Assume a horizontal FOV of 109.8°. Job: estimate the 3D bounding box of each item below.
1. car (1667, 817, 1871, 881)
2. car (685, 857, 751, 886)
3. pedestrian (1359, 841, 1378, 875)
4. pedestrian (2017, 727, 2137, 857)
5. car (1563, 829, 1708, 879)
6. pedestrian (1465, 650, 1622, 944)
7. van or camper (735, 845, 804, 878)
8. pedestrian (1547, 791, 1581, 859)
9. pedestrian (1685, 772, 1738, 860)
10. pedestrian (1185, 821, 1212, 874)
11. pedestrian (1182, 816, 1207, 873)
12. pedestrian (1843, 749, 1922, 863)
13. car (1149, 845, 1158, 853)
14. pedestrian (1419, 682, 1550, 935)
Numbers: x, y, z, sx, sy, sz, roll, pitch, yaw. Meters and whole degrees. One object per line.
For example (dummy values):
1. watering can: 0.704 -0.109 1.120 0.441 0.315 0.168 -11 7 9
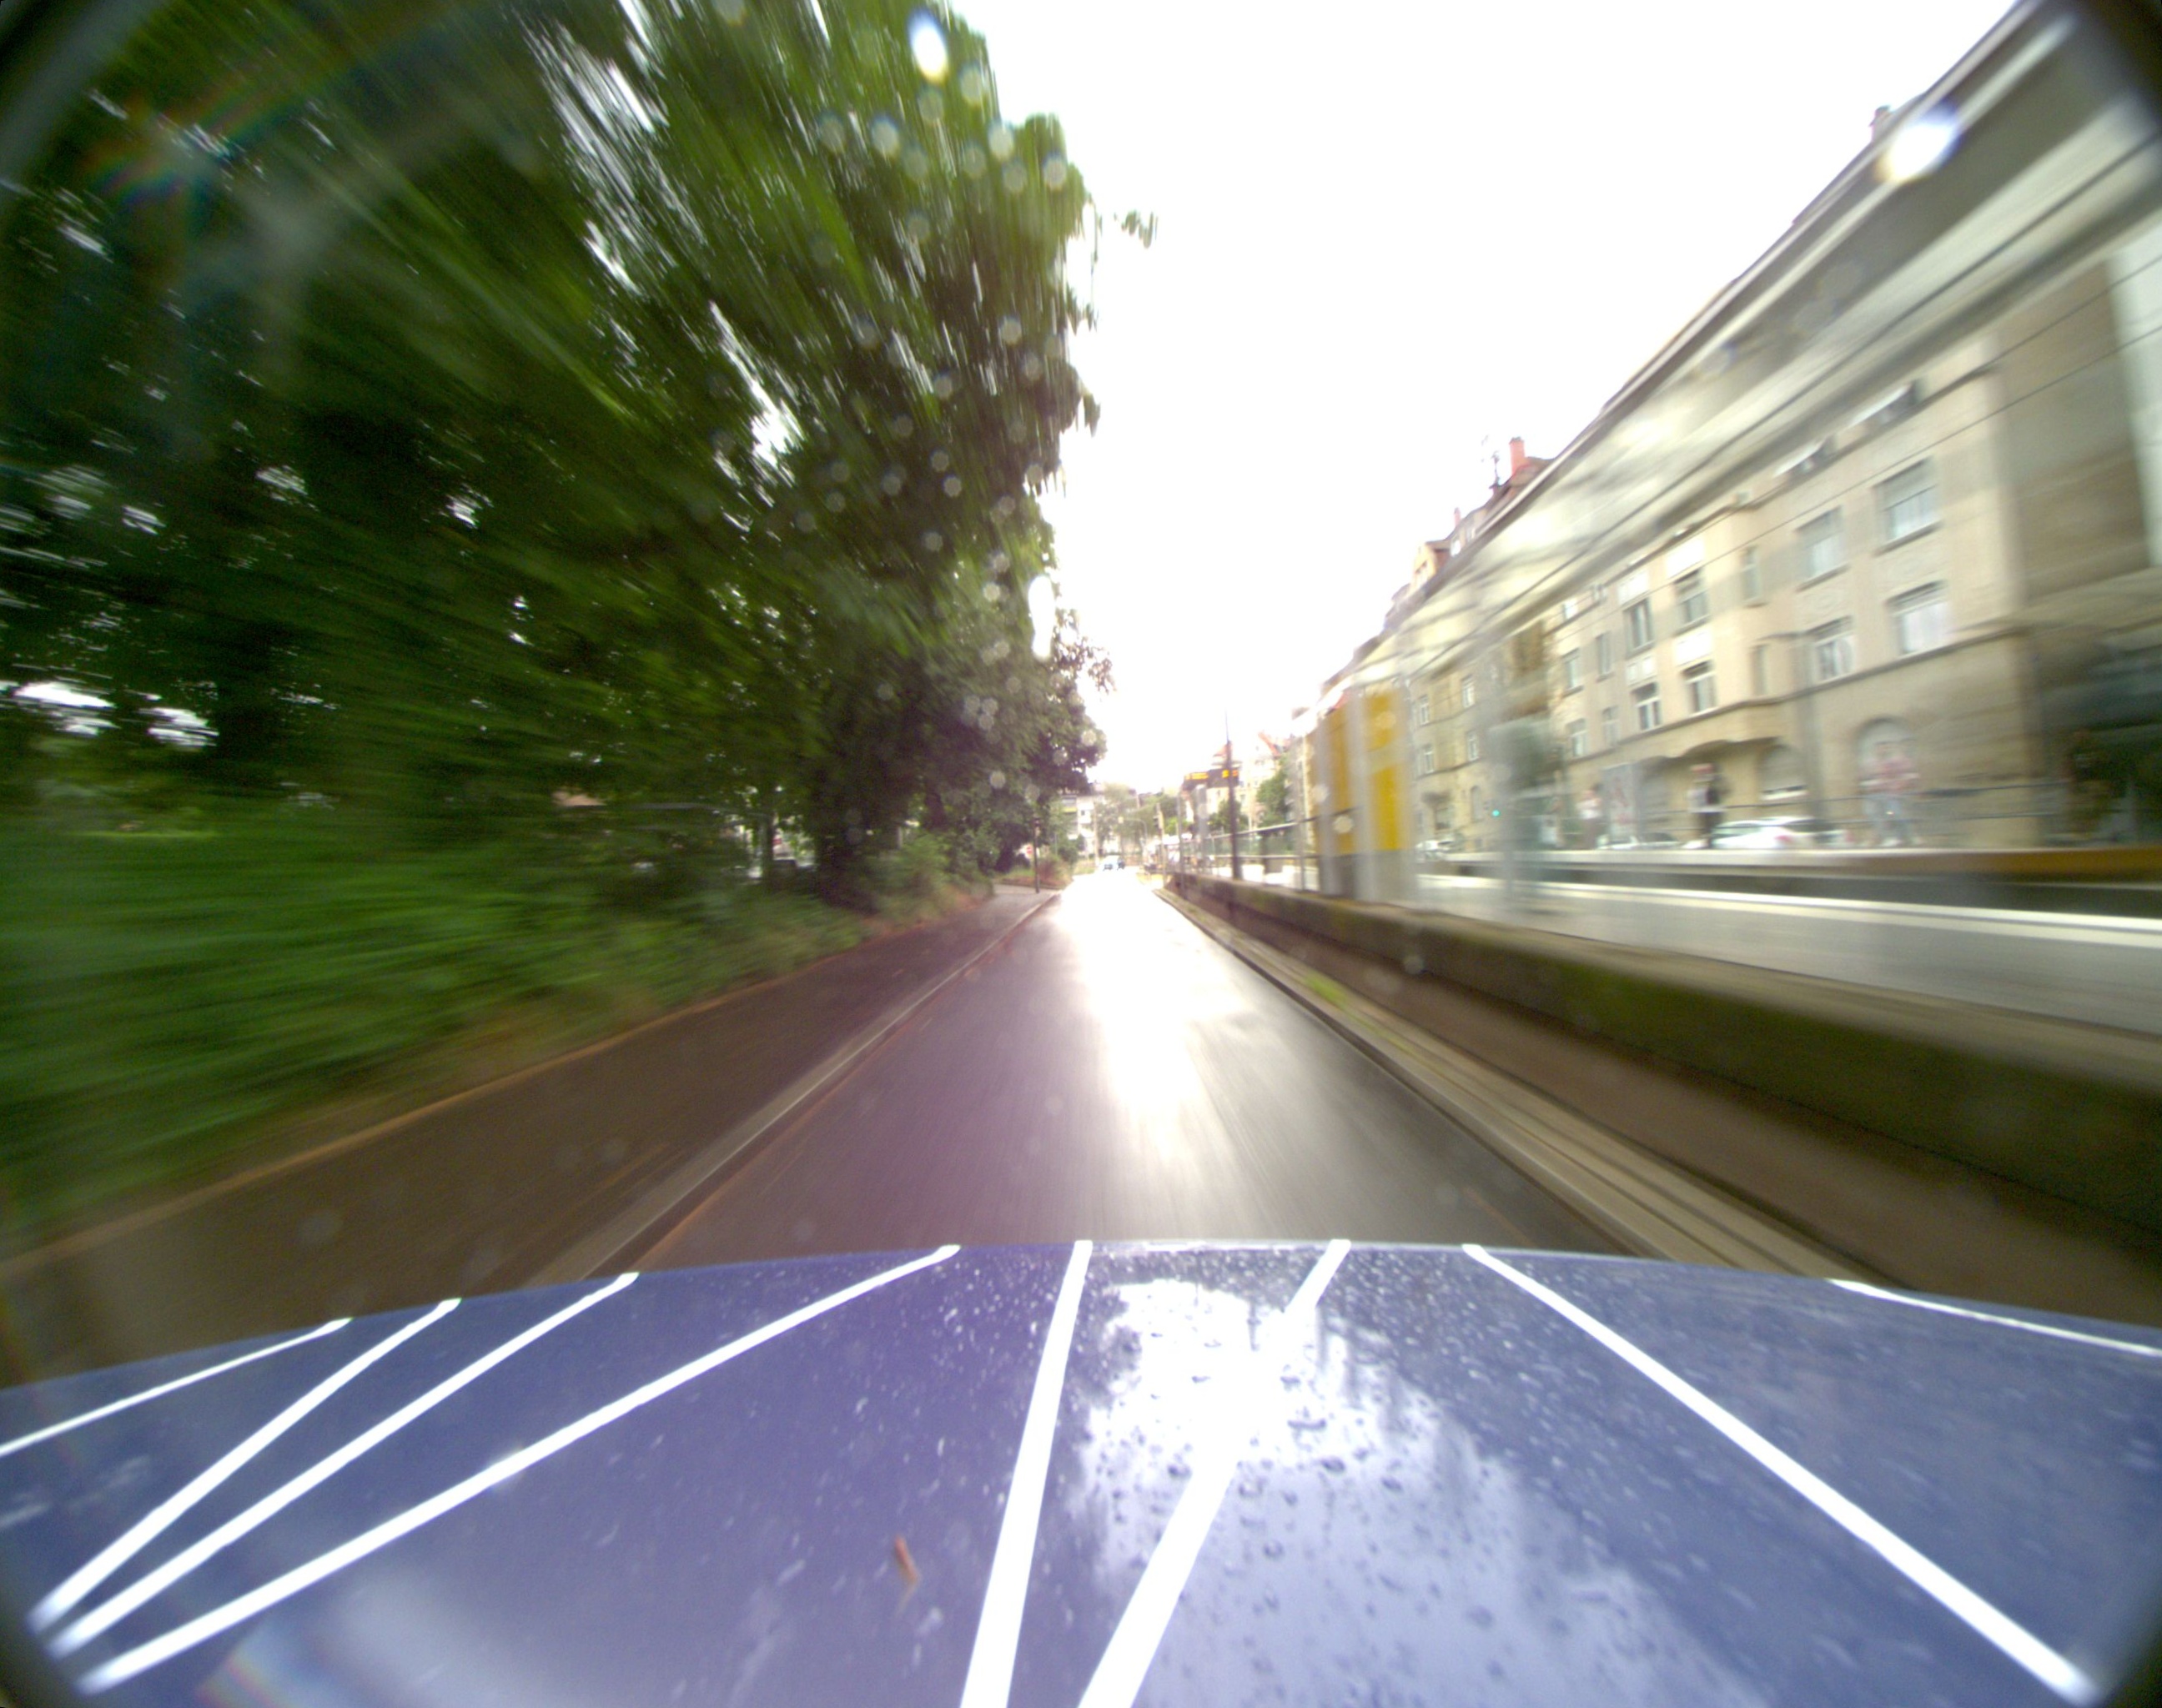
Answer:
1. car: 19.457 -0.118 21.824 1.927 1.613 4.536 -1 0 4
2. car: -20.197 0.960 42.197 3.989 1.456 2.004 -2 0 45
3. pedestrian: 13.924 0.189 36.780 0.626 1.584 0.621 -2 0 4
4. pedestrian: 13.223 -0.795 10.111 0.595 1.656 0.762 -1 1 2
5. car: 19.814 -0.047 27.447 1.998 1.524 4.532 -5 1 3
6. pedestrian: 3.167 -0.364 5.262 0.591 1.870 0.711 -3 0 1
7. van or camper: -18.548 0.423 45.099 2.004 1.823 5.166 -1 1 -44
8. pedestrian: 13.377 -0.794 21.069 0.562 1.839 0.599 -1 1 2
9. pedestrian: 13.419 -0.798 16.187 0.517 1.827 0.762 -1 1 2
10. pedestrian: 3.569 -0.202 23.121 0.652 1.553 0.684 -2 0 3
11. pedestrian: 3.669 -0.304 24.573 0.652 1.773 0.848 -2 0 3
12. pedestrian: 13.326 -0.776 12.647 0.517 1.827 0.762 -1 1 2
13. car: 16.813 -1.175 176.385 1.804 1.824 4.283 -2 0 0
14. pedestrian: 3.158 -0.335 6.006 0.591 1.854 0.711 -3 0 1
